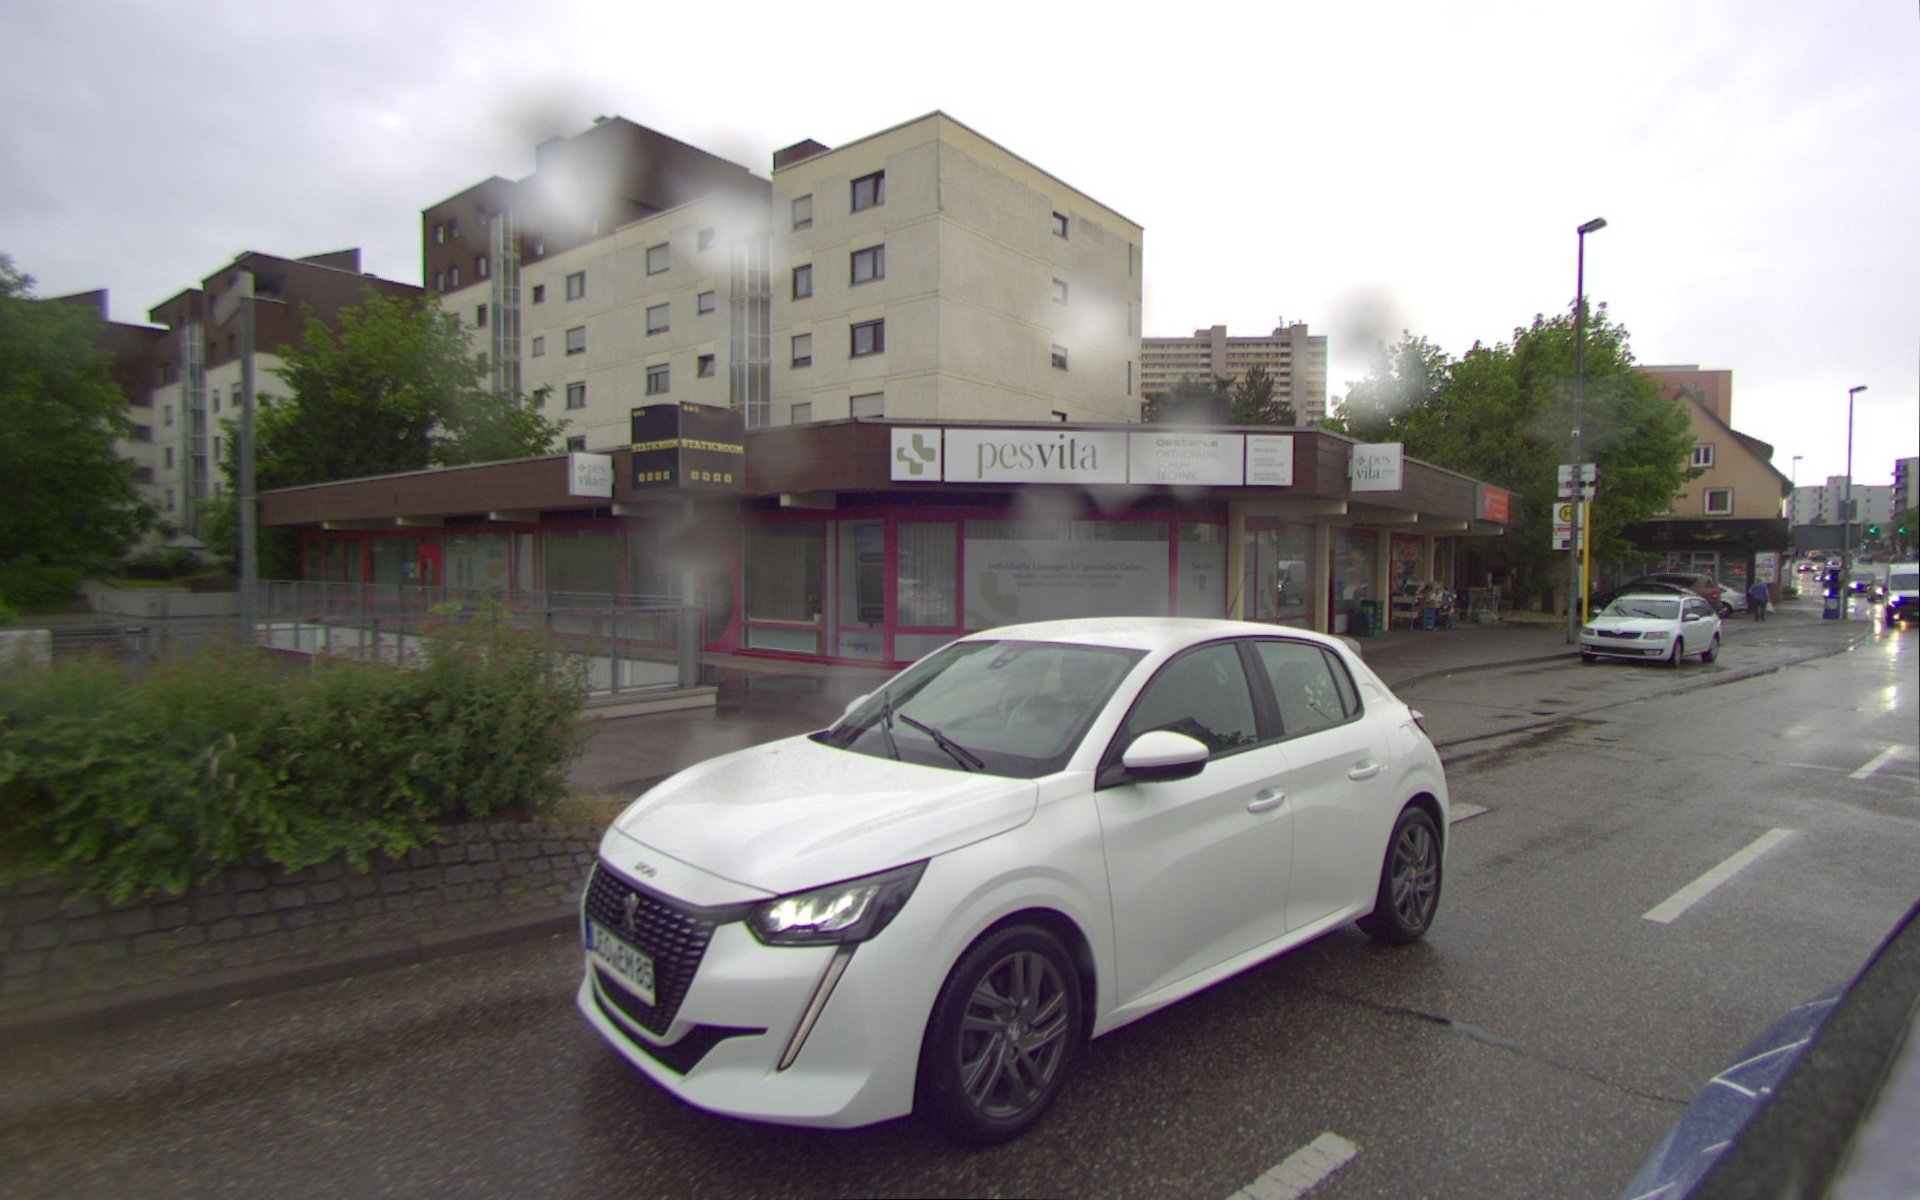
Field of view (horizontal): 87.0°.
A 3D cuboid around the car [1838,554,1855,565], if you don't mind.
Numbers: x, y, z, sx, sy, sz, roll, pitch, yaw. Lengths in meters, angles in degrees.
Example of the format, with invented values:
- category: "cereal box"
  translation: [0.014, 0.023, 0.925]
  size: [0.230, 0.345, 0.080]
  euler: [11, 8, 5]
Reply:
- category: "car"
  translation: [135.773, -6.200, 154.976]
  size: [1.657, 1.655, 3.753]
  euler: [1, 0, 38]

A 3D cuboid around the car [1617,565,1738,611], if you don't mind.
- category: "car"
  translation: [29.610, -0.539, 41.812]
  size: [3.981, 1.802, 1.857]
  euler: [2, 1, 39]

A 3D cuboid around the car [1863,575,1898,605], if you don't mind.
- category: "car"
  translation: [65.377, -0.702, 71.834]
  size: [1.716, 2.025, 3.775]
  euler: [1, 0, 44]

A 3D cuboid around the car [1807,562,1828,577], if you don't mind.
- category: "car"
  translation: [114.520, -4.050, 135.177]
  size: [1.992, 2.039, 3.939]
  euler: [0, 0, 42]

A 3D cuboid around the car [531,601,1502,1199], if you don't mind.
- category: "car"
  translation: [0.566, 0.732, 4.226]
  size: [4.043, 1.433, 1.665]
  euler: [0, 0, -41]

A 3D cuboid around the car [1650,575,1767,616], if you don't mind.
- category: "car"
  translation: [32.248, -0.201, 43.656]
  size: [3.981, 1.614, 1.857]
  euler: [2, 0, 40]

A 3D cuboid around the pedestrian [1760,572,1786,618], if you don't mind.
- category: "pedestrian"
  translation: [32.753, -0.206, 40.764]
  size: [0.740, 1.804, 0.749]
  euler: [0, 0, -44]

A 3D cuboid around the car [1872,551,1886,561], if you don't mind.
- category: "car"
  translation: [156.170, -7.481, 171.941]
  size: [1.659, 1.655, 3.749]
  euler: [1, 0, 41]

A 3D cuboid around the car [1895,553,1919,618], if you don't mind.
- category: "car"
  translation: [40.241, -0.591, 41.636]
  size: [6.021, 2.549, 2.194]
  euler: [-1, 1, -43]

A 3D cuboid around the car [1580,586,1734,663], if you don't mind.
- category: "car"
  translation: [15.140, 0.473, 21.913]
  size: [3.929, 1.509, 1.788]
  euler: [0, 0, -40]

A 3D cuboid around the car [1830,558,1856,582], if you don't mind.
- category: "car"
  translation: [79.266, -2.663, 90.875]
  size: [1.714, 2.025, 3.780]
  euler: [1, 0, 40]

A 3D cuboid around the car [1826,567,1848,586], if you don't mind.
- category: "car"
  translation: [92.925, -2.467, 107.235]
  size: [1.714, 2.025, 3.780]
  euler: [1, 0, 41]

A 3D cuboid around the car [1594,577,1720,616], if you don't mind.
- category: "car"
  translation: [27.571, -0.173, 40.061]
  size: [3.981, 1.445, 1.857]
  euler: [2, 1, 39]

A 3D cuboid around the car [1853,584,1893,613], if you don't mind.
- category: "car"
  translation: [56.206, -0.100, 62.303]
  size: [1.716, 1.772, 3.775]
  euler: [1, 0, 44]
